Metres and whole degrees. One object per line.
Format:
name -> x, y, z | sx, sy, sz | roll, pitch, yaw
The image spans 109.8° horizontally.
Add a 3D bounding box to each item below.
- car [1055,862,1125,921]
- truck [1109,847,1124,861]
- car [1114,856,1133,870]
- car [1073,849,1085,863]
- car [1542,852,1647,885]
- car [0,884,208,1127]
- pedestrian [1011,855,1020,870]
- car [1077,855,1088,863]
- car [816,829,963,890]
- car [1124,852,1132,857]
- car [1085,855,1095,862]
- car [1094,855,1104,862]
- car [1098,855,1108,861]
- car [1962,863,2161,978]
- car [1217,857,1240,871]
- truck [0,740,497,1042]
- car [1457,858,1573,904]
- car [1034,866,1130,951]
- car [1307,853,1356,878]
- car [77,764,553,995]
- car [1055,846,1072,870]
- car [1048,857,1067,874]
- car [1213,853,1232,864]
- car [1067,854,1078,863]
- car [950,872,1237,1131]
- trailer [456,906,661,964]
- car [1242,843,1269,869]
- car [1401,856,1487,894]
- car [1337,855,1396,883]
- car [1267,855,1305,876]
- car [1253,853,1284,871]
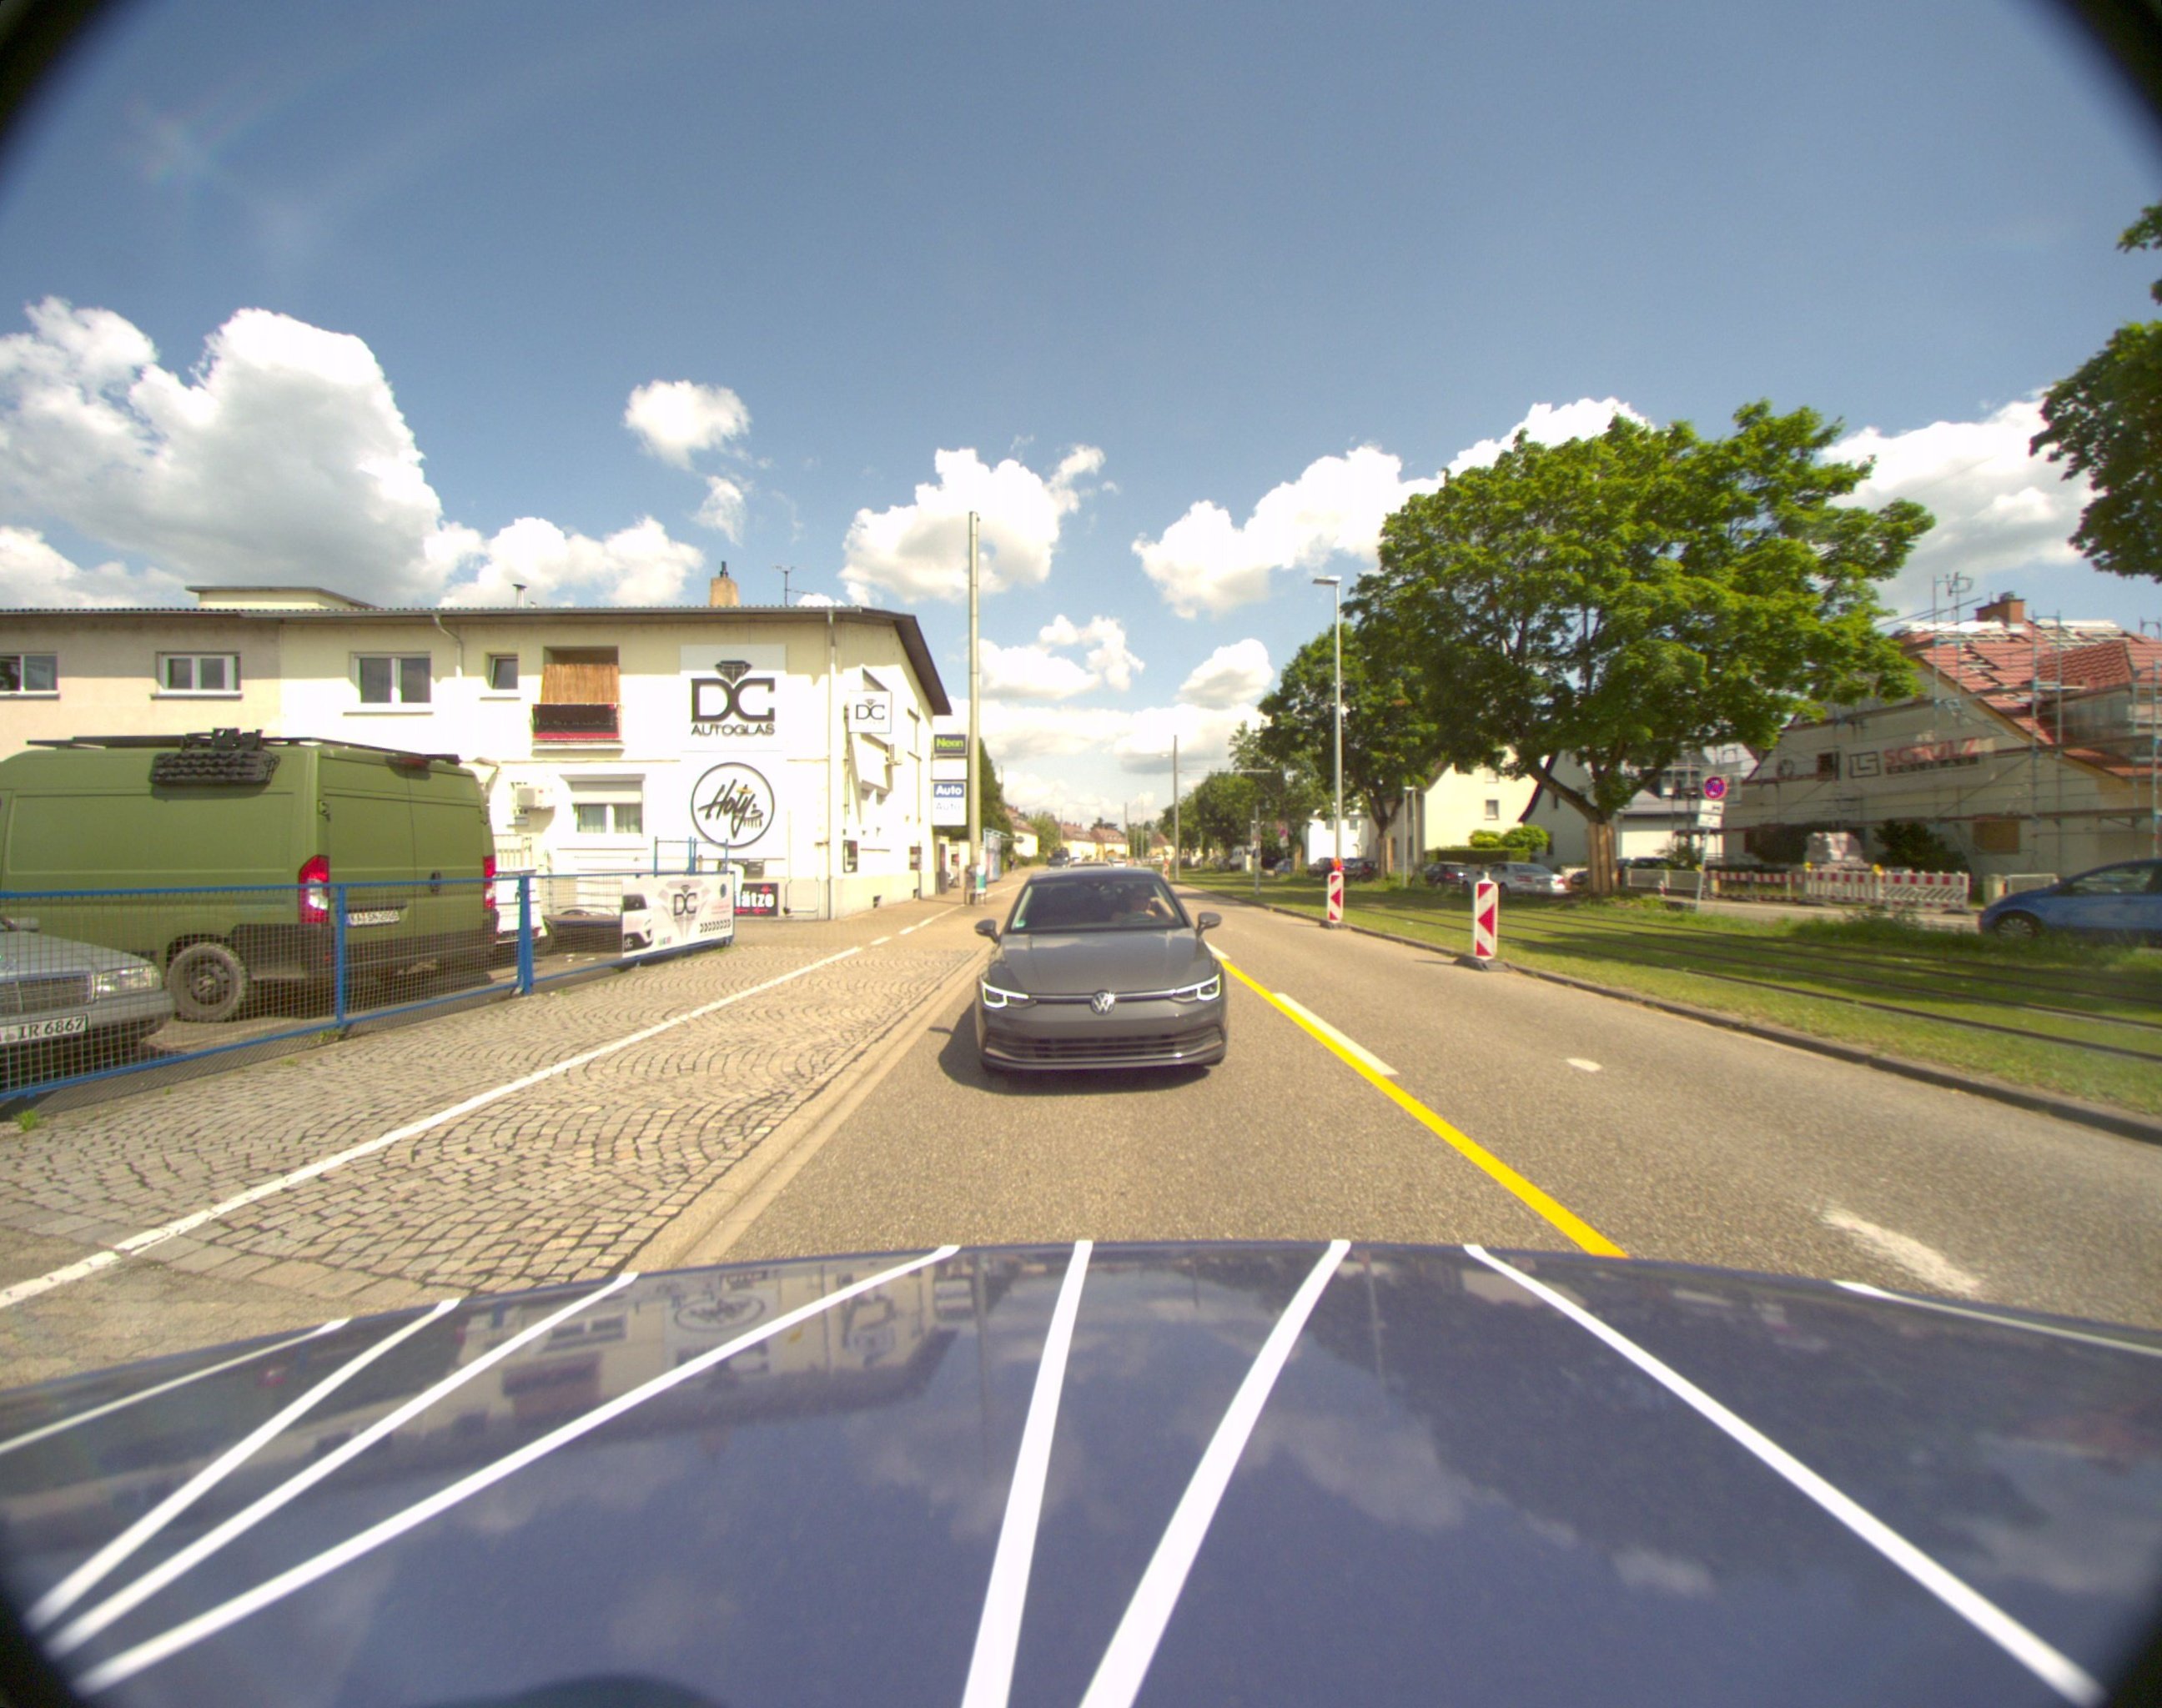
car -> 0.266, 0.985, 21.497 | 1.787, 1.470, 4.009 | 0, 0, 1
truck -> 9.428, 0.009, 201.136 | 2.589, 3.431, 8.585 | 0, 0, 11
car -> 4.290, 0.907, 76.419 | 1.719, 1.405, 4.262 | 0, 0, 1
car -> -0.413, 0.391, 136.324 | 1.719, 2.360, 5.211 | 0, 0, 5
car -> 25.518, 0.715, 37.832 | 4.047, 1.602, 1.757 | 0, 0, 1
car -> -8.433, 0.916, 4.813 | 4.206, 1.388, 1.804 | 0, 0, 8
pedestrian -> -6.765, 0.888, 78.116 | 0.816, 1.577, 0.918 | 0, 0, 1
car -> 0.357, 0.978, 146.556 | 1.719, 1.470, 4.011 | 0, 0, 6
car -> -8.524, 0.252, 34.108 | 5.982, 2.362, 2.000 | 3, 0, 3
car -> 13.555, 0.222, 218.478 | 1.718, 1.470, 4.013 | 0, 0, 13
car -> 1.832, 0.978, 155.304 | 1.718, 1.470, 4.011 | 0, 0, 8
car -> 4.124, 0.985, 172.737 | 1.718, 1.470, 4.011 | 0, 0, 8
car -> 5.198, 0.986, 179.087 | 1.718, 1.470, 4.011 | 0, 0, 8
car -> 16.250, 0.954, 11.233 | 1.755, 1.602, 4.050 | 0, 0, 0
car -> 16.943, 1.145, 87.270 | 1.755, 1.602, 4.606 | 0, 0, 0
truck -> -8.620, 0.326, 7.569 | 3.997, 2.592, 2.069 | 0, 0, 1
car -> 16.394, 0.960, 29.007 | 1.755, 1.602, 4.606 | 0, 0, 0
car -> 0.042, 1.003, 15.645 | 1.719, 1.470, 4.009 | 0, 0, 1
car -> 16.686, 0.758, 50.908 | 1.755, 1.602, 4.606 | 0, 0, 0
car -> -9.451, 0.299, 9.654 | 4.209, 2.653, 1.803 | 0, 0, 0
car -> -1.907, 0.405, 82.851 | 1.720, 2.526, 5.794 | 0, 0, 0
car -> -2.151, 1.061, 70.989 | 1.720, 1.470, 4.009 | 0, 0, 0
car -> 19.971, 0.624, 107.171 | 1.755, 1.602, 4.606 | 0, 0, 0
car -> -1.351, 0.730, 122.961 | 1.720, 1.470, 4.009 | 0, 0, 0
car -> 0.103, 0.935, 6.570 | 1.719, 1.470, 4.009 | 0, 0, 1
trailer -> -8.058, 1.235, 11.839 | 2.329, 0.762, 1.269 | 0, 0, 2
car -> 17.656, 0.190, 77.063 | 1.755, 2.601, 4.606 | 0, 0, 0
car -> 16.596, 0.911, 35.030 | 1.755, 1.602, 4.606 | 0, 0, 0
car -> 16.908, 0.845, 45.268 | 1.755, 1.602, 4.606 | 0, 0, 0
car -> 16.503, 0.910, 61.357 | 1.755, 1.602, 4.606 | 0, 0, 0
car -> 17.594, 0.749, 71.496 | 1.755, 1.602, 4.606 | 0, 0, 0
